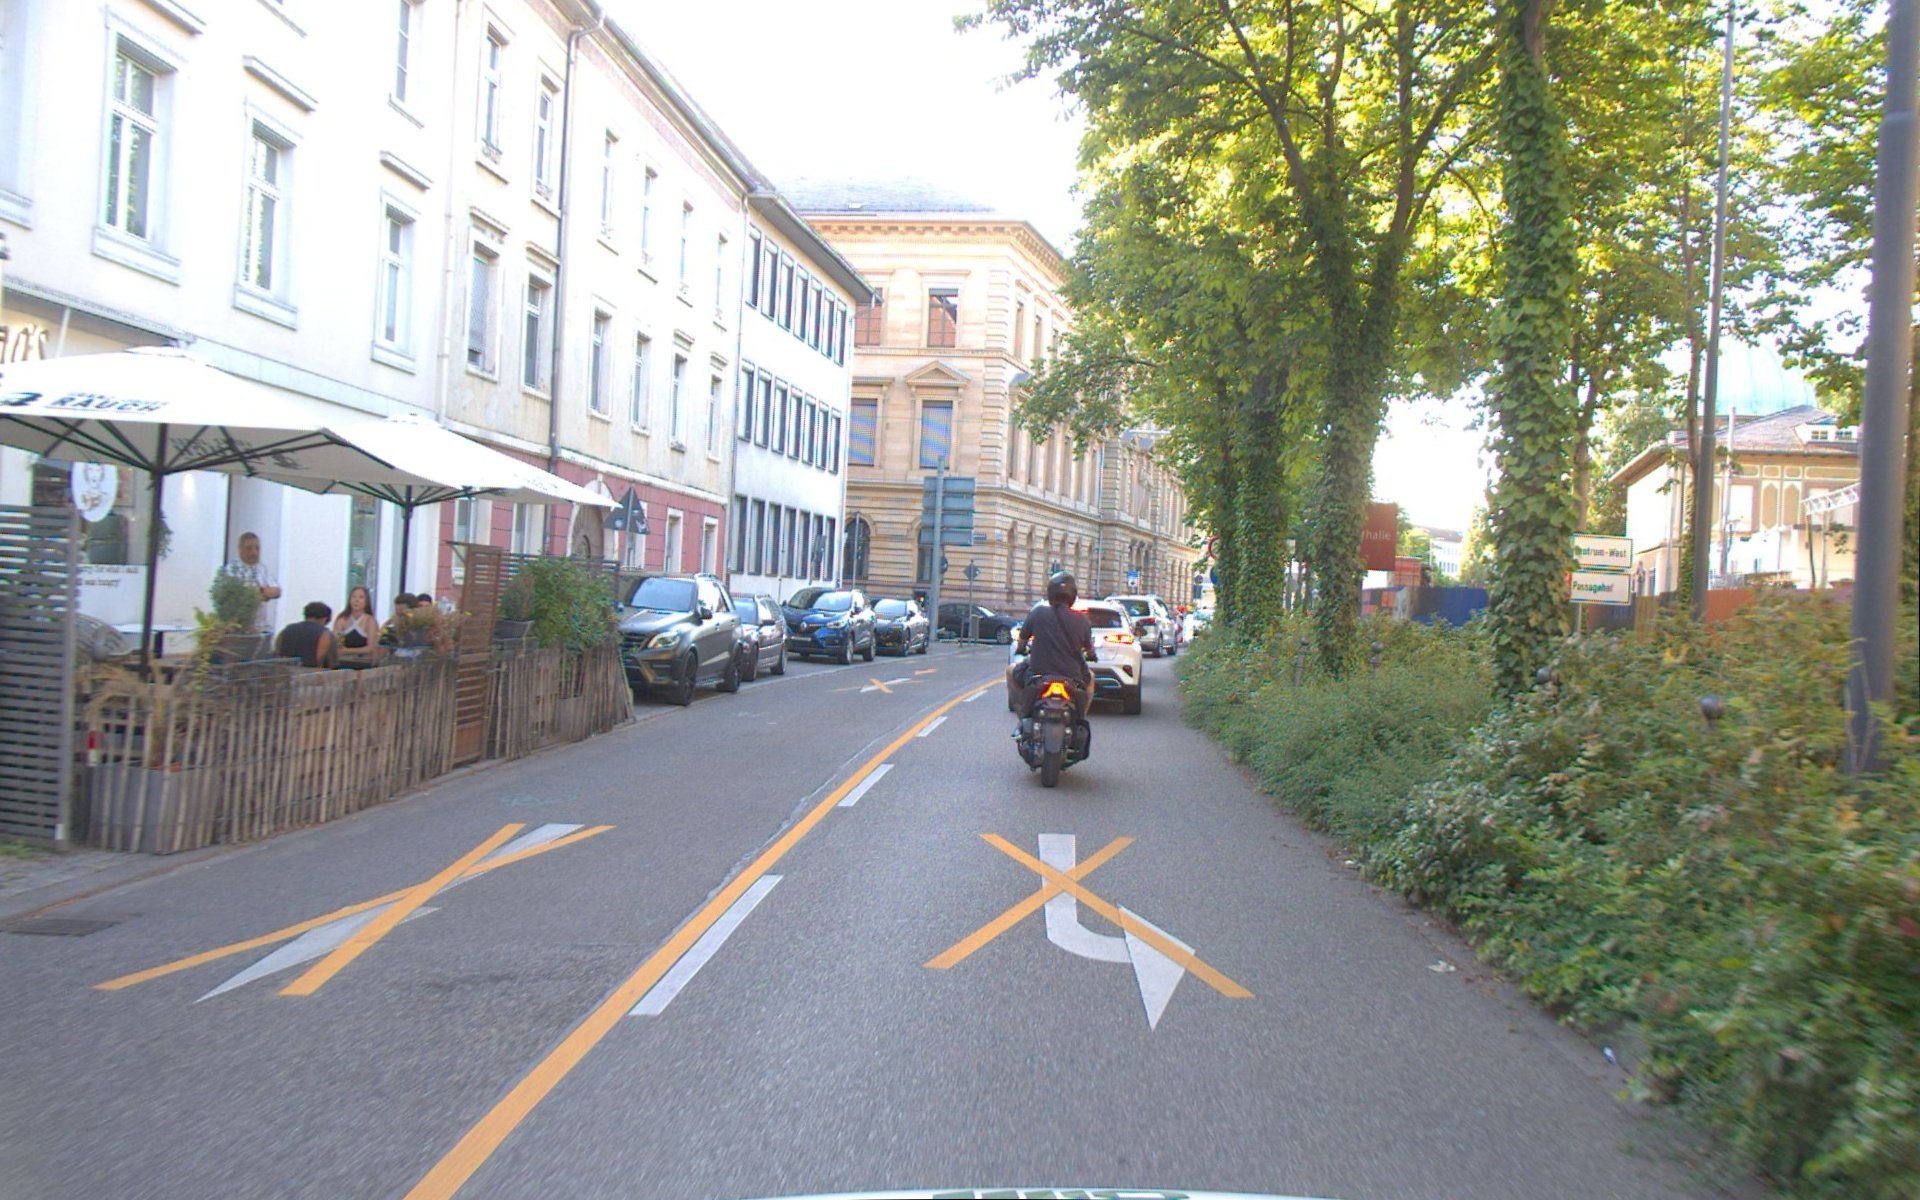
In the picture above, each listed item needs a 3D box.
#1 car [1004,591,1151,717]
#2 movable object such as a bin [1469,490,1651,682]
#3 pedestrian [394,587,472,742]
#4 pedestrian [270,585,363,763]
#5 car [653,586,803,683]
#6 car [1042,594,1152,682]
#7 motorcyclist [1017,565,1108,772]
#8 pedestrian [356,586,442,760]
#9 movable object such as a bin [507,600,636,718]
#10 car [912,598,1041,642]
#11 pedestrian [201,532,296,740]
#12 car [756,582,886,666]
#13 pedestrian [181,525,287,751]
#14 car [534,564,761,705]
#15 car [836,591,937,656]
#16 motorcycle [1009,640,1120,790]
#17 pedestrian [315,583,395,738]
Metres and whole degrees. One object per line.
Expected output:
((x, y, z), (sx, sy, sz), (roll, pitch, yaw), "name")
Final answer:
((1.705, 0.689, 23.194), (1.812, 1.506, 4.060), (3, 0, 6), "car")
((16.020, -0.347, 44.820), (3.236, 4.618, 7.911), (2, 0, 11), "movable object such as a bin")
((-4.978, 0.598, 15.635), (0.512, 1.415, 0.488), (3, 0, 0), "pedestrian")
((-5.319, 0.601, 13.695), (0.512, 1.415, 0.488), (3, 0, 0), "pedestrian")
((-3.961, 0.555, 28.949), (1.618, 1.506, 4.430), (2, 0, 5), "car")
((2.720, 0.697, 32.163), (1.801, 1.489, 4.061), (4, 0, 8), "car")
((0.861, 0.568, 14.040), (0.644, 1.679, 0.651), (4, 0, 1), "motorcyclist")
((-4.864, 0.619, 14.362), (0.460, 1.458, 0.502), (3, 0, 7), "pedestrian")
((-4.608, 0.683, 19.675), (1.190, 1.318, 0.931), (2, 0, 7), "movable object such as a bin")
((0.600, 0.703, 58.996), (4.223, 1.414, 1.776), (2, 0, 18), "car")
((-6.381, 0.317, 14.845), (0.428, 1.806, 0.598), (3, 0, 15), "pedestrian")
((-3.043, 0.512, 37.157), (1.893, 1.696, 4.350), (2, 0, 8), "car")
((-5.992, 0.305, 13.660), (0.583, 1.806, 0.439), (3, 0, 11), "pedestrian")
((-4.235, 0.435, 23.257), (1.881, 1.709, 4.788), (2, 0, 5), "car")
((-1.901, 0.614, 44.423), (1.785, 1.529, 4.764), (4, 0, 8), "car")
((0.851, 0.925, 13.924), (0.780, 1.084, 1.725), (4, 0, 1), "motorcycle")
((-5.696, 0.564, 15.590), (0.512, 1.415, 0.488), (3, 0, 0), "pedestrian")
